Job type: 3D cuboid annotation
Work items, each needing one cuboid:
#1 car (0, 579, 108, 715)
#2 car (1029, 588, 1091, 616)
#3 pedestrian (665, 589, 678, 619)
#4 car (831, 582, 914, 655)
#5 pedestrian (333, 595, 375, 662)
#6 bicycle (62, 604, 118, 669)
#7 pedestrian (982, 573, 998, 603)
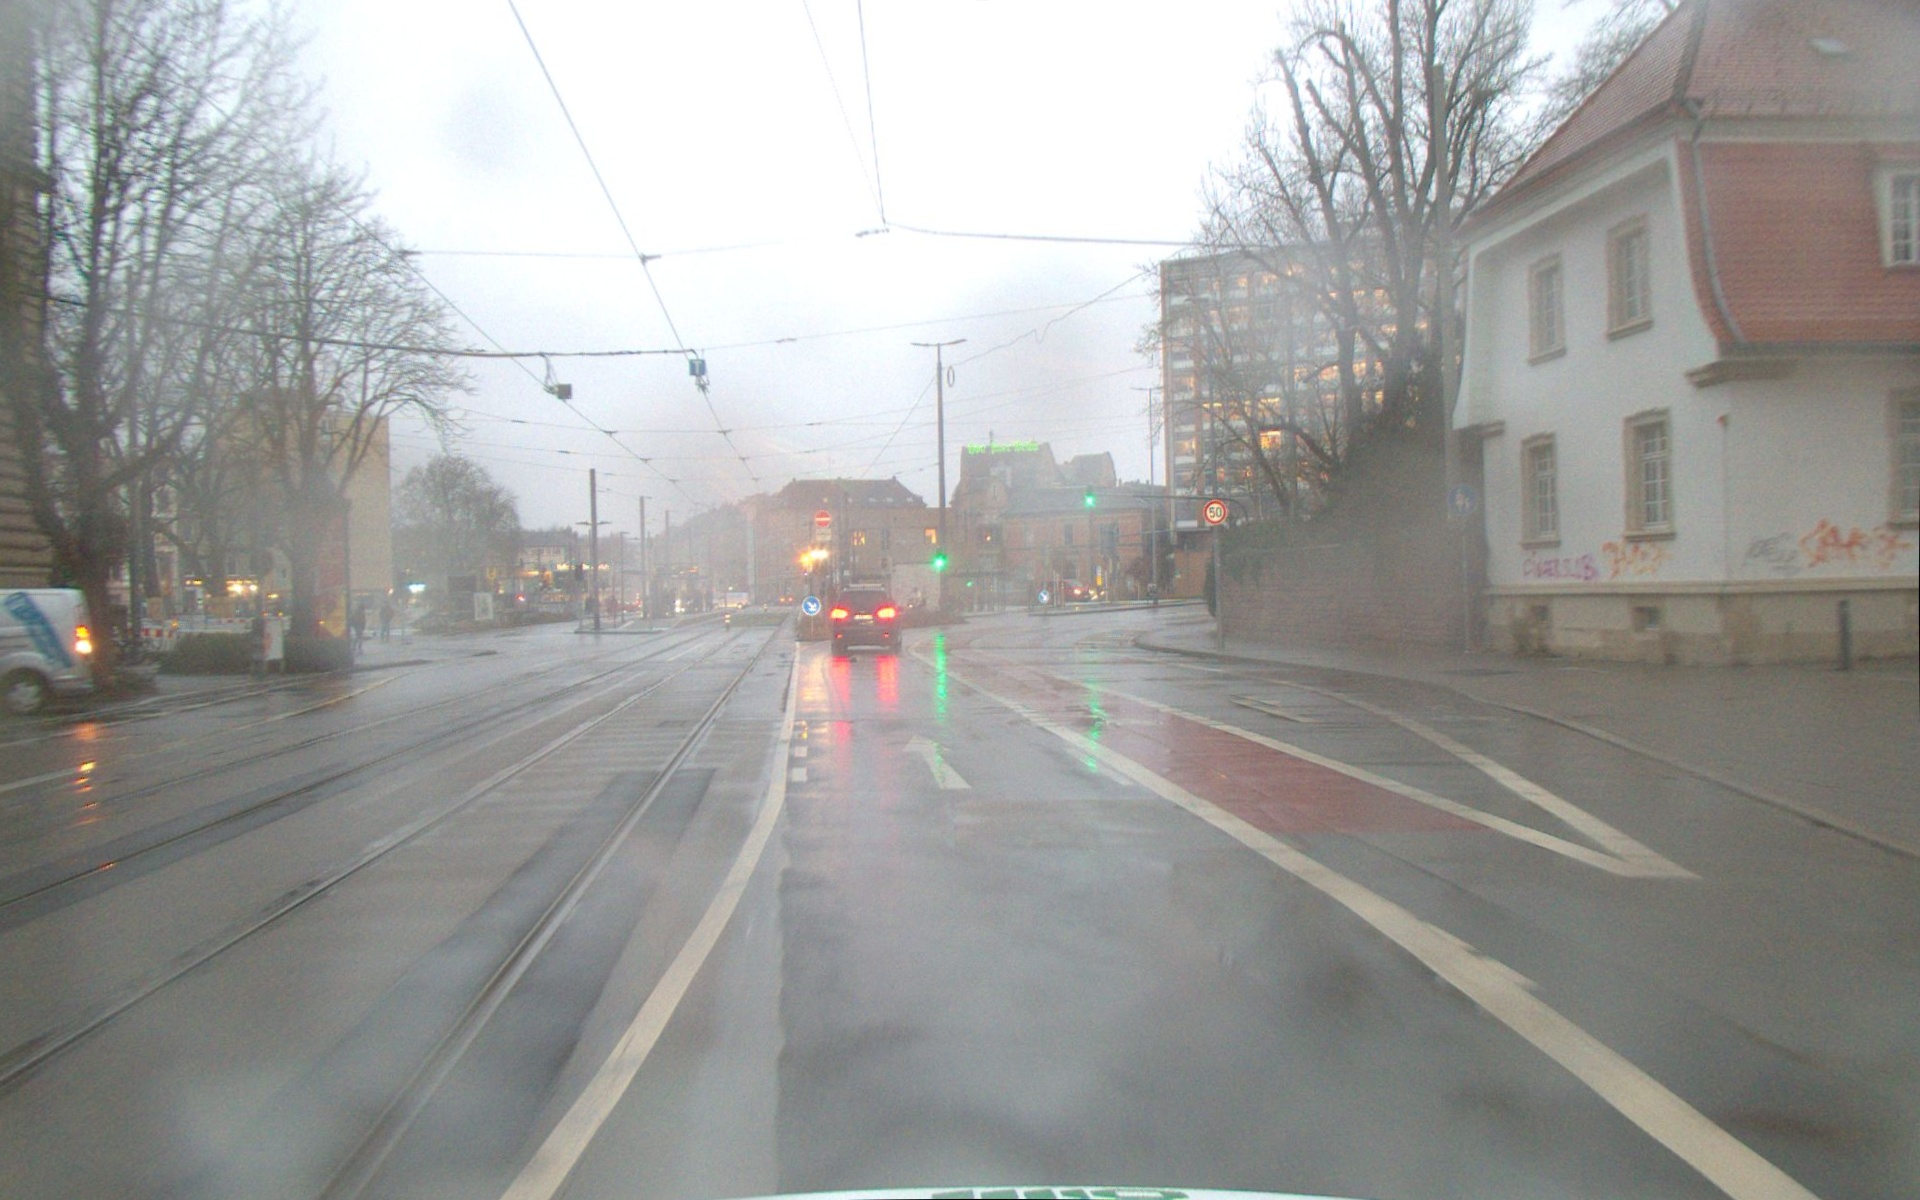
[{"bbox_3d":[-15.873,0.693,25.262,4.765,2.069,1.883,1,-1,-43],"label":"car"},{"bbox_3d":[8.319,0.163,138.094,2.241,2.321,4.956,1,0,-44],"label":"car"},{"bbox_3d":[-17.396,0.259,99.651,0.698,1.788,0.716,0,0,-5],"label":"pedestrian"},{"bbox_3d":[-2.376,0.463,45.734,1.612,1.850,4.004,0,2,7],"label":"car"},{"bbox_3d":[-22.457,1.047,61.316,0.974,2.412,1.064,1,-1,25],"label":"pedestrian"},{"bbox_3d":[-24.151,0.993,45.906,0.708,1.718,2.390,1,-1,-44],"label":"bicycle"},{"bbox_3d":[1.737,-0.687,96.477,0.661,1.703,0.728,1,-1,33],"label":"pedestrian"}]
